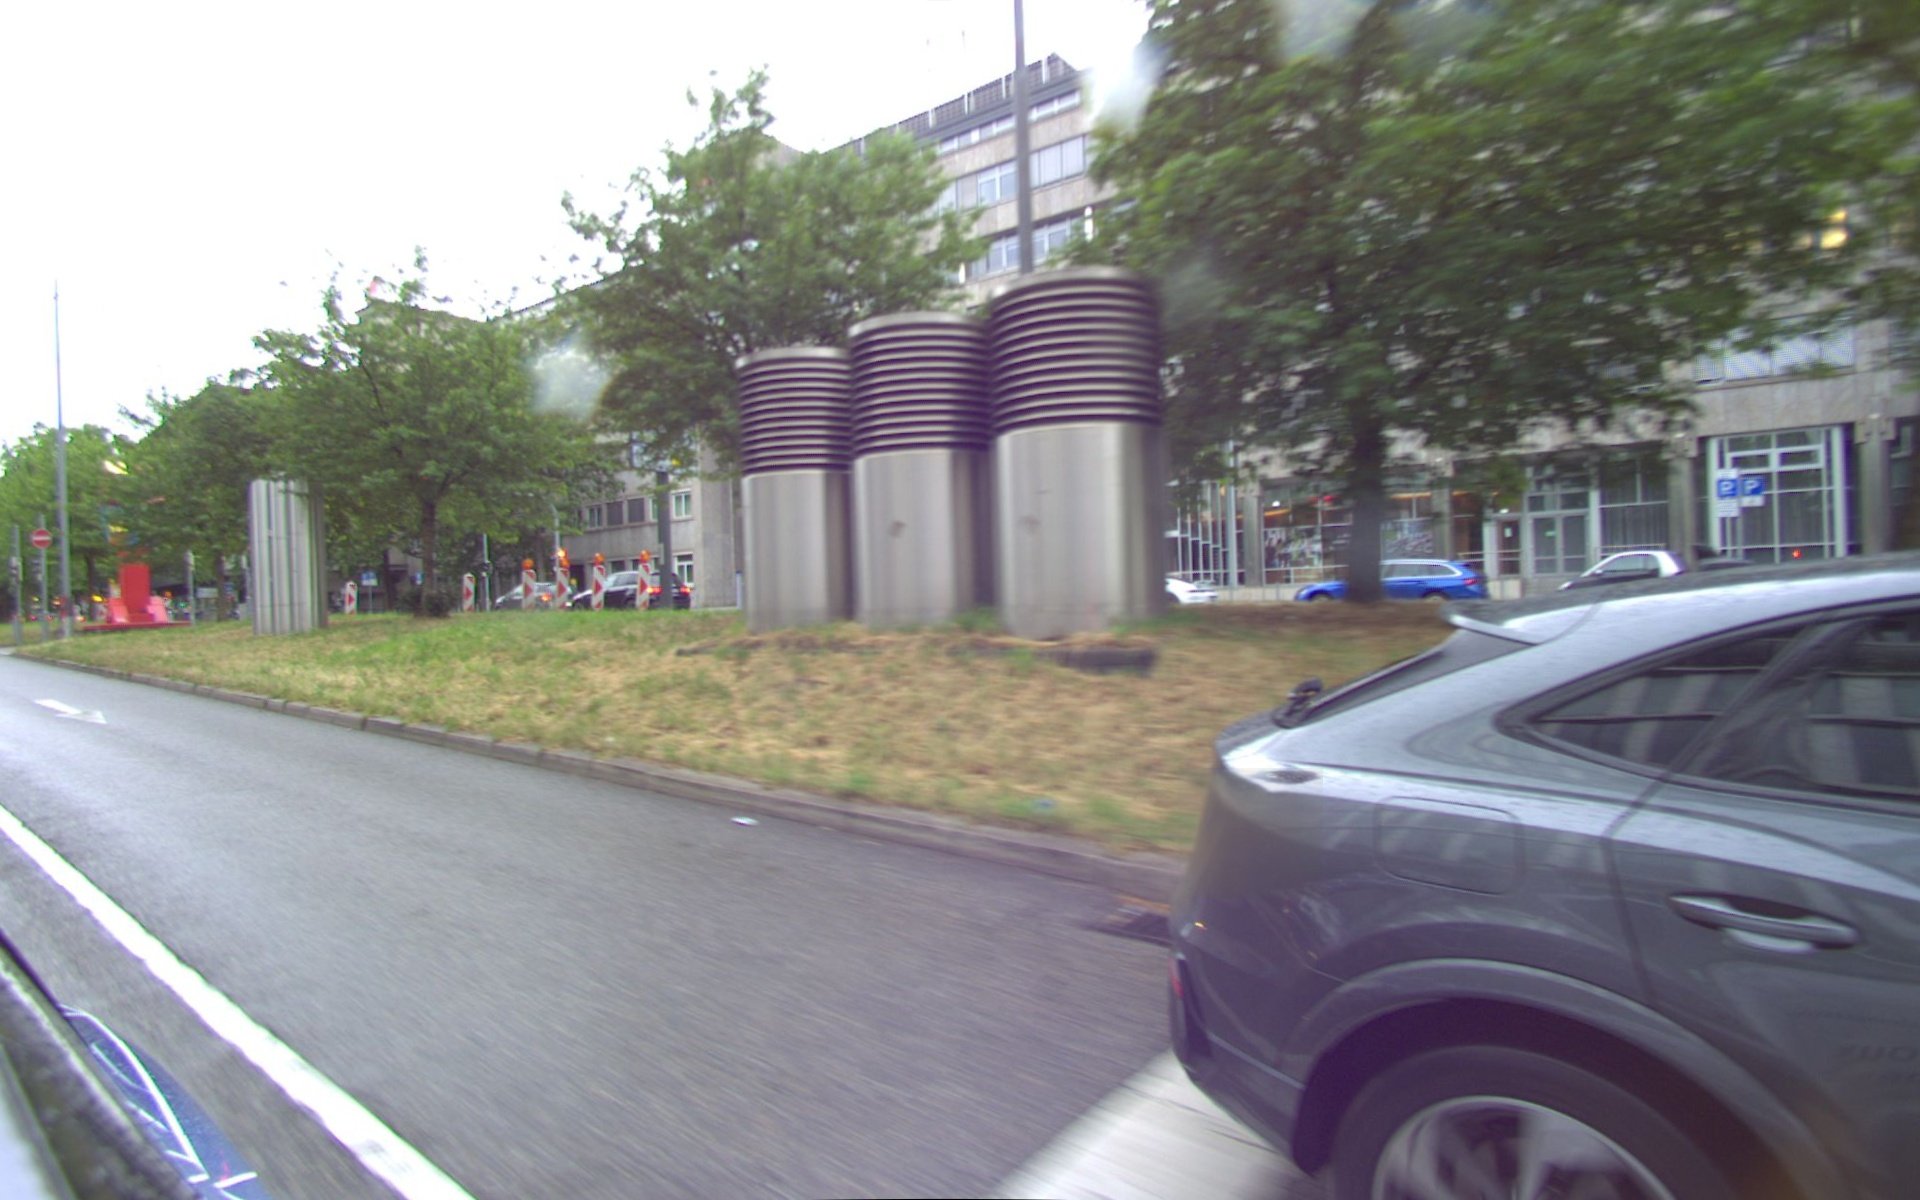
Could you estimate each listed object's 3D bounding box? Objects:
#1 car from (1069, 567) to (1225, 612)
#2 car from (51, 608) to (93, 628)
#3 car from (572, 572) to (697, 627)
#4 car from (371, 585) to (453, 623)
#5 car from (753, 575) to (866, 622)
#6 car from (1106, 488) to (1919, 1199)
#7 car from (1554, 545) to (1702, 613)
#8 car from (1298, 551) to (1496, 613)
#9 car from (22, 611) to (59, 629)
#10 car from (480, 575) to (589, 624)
[{"bbox_3d":[5.302,-0.277,28.875,4.098,1.130,1.558,-1,2,35],"label":"car"},{"bbox_3d":[-77.793,1.559,88.640,4.103,1.599,2.047,-1,3,39],"label":"car"},{"bbox_3d":[-10.471,-0.013,32.456,4.103,1.592,1.857,-1,3,39],"label":"car"},{"bbox_3d":[-25.296,0.176,46.701,4.103,1.592,1.857,-1,3,39],"label":"car"},{"bbox_3d":[-5.532,-0.042,36.933,4.098,1.592,1.558,-1,2,35],"label":"car"},{"bbox_3d":[2.563,0.588,1.433,4.341,1.529,1.842,-1,1,40],"label":"car"},{"bbox_3d":[14.758,-0.452,22.385,2.624,1.395,1.228,-1,3,39],"label":"car"},{"bbox_3d":[10.887,-0.438,25.327,4.310,1.395,1.661,-1,2,35],"label":"car"},{"bbox_3d":[-92.551,1.997,101.849,4.103,1.599,2.047,-1,3,39],"label":"car"},{"bbox_3d":[-15.269,-0.022,36.254,4.103,1.592,1.857,-1,3,39],"label":"car"}]
